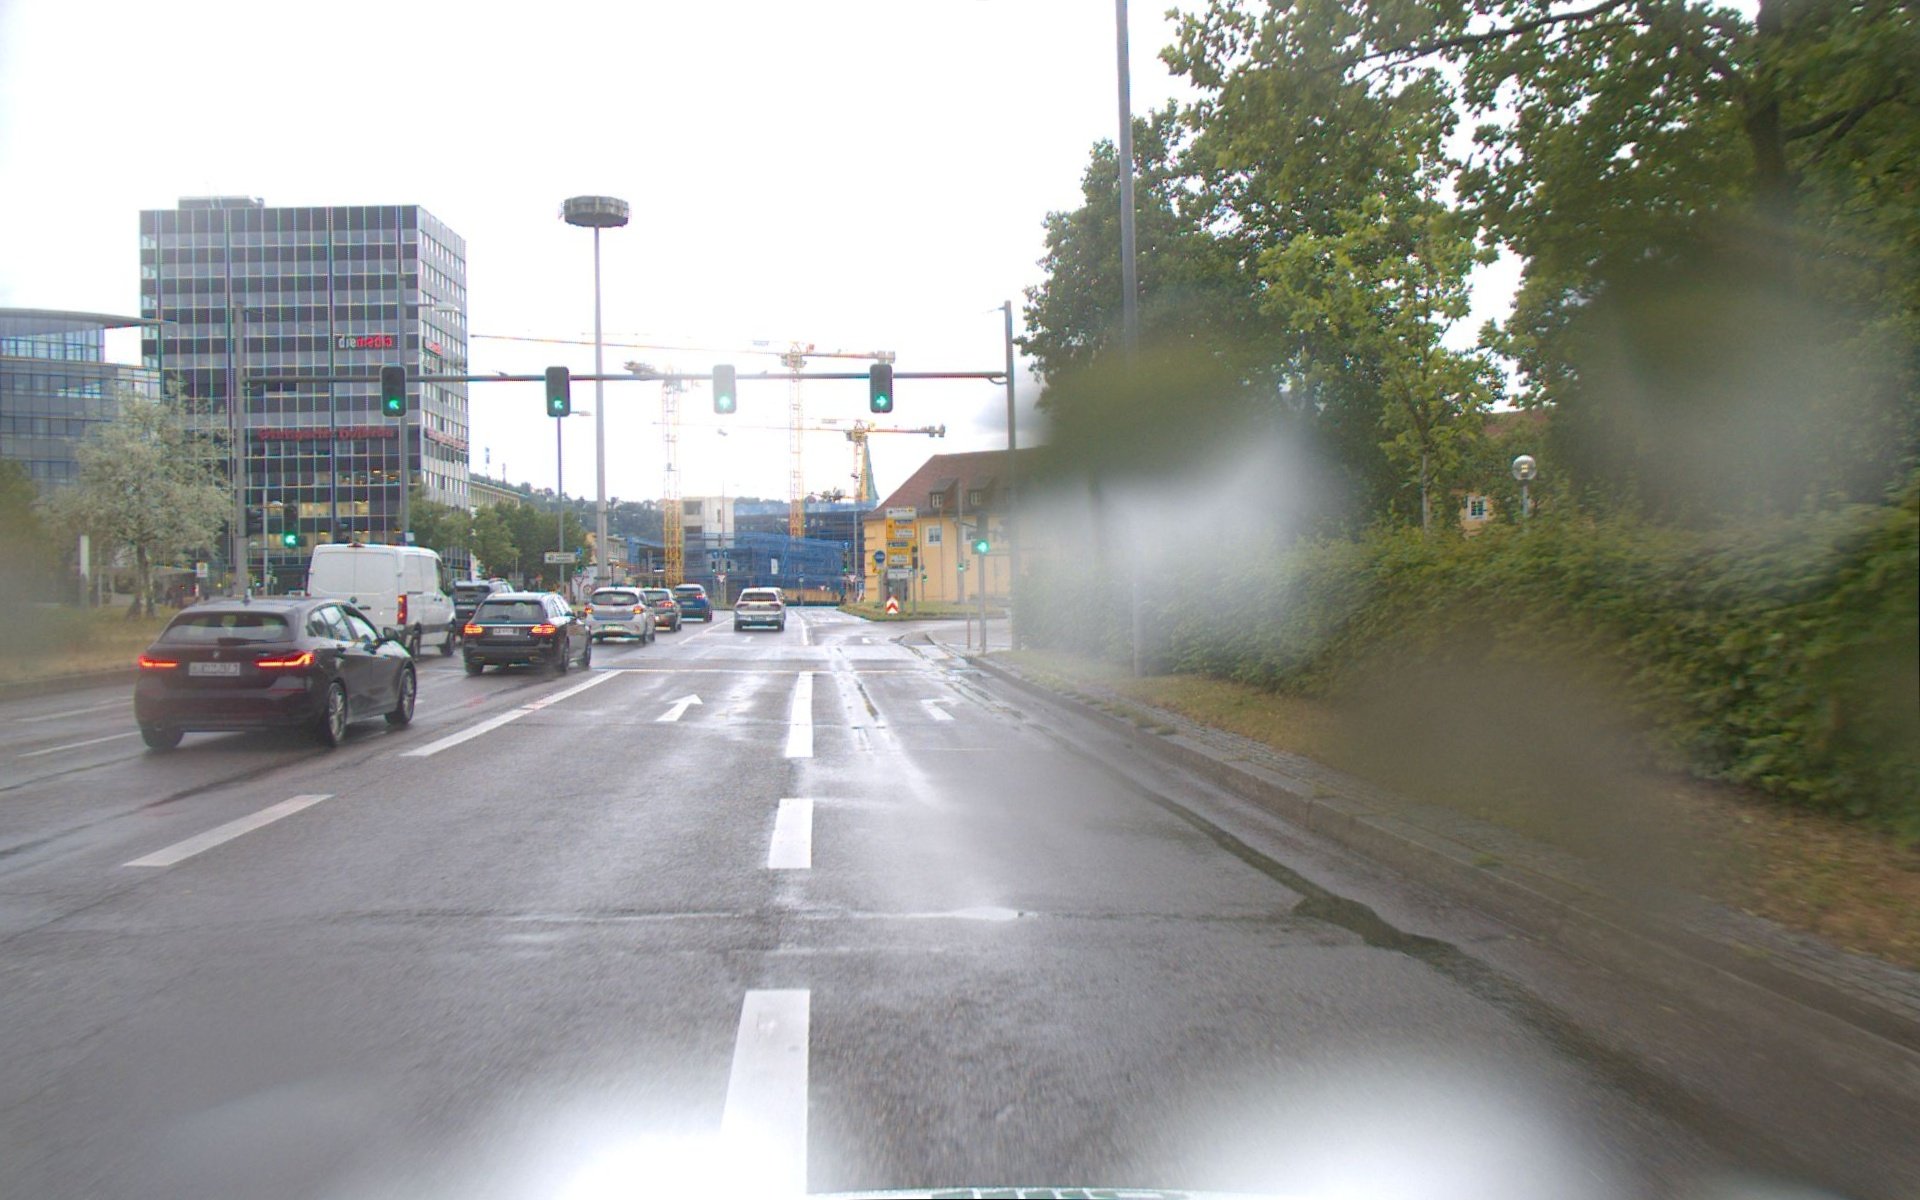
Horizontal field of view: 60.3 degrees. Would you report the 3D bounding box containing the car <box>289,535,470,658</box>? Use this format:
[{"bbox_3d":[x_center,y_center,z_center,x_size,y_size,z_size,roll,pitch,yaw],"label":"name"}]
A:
[{"bbox_3d":[-11.870,-0.011,34.232,2.247,2.355,5.001,0,-1,-4],"label":"car"}]

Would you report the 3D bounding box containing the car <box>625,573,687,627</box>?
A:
[{"bbox_3d":[-10.251,0.026,55.969,1.682,1.758,3.491,0,-1,-5],"label":"car"}]

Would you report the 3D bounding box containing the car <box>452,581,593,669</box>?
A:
[{"bbox_3d":[-7.889,0.469,30.117,1.793,1.521,3.397,0,-1,-3],"label":"car"}]

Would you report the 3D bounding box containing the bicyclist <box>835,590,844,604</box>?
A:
[{"bbox_3d":[-11.172,-0.300,153.527,0.693,1.298,0.631,1,-2,-21],"label":"bicyclist"}]

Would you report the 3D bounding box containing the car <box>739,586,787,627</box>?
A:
[{"bbox_3d":[-6.821,0.246,57.397,1.415,1.383,2.411,0,-1,-2],"label":"car"}]

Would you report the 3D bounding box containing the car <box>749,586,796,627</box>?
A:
[{"bbox_3d":[-8.675,0.266,76.742,1.632,1.772,3.289,1,1,2],"label":"car"}]

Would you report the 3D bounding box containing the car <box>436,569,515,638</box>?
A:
[{"bbox_3d":[-12.620,0.133,43.239,1.436,1.736,3.136,0,-1,-7],"label":"car"}]

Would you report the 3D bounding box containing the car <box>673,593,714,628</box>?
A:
[{"bbox_3d":[-11.227,0.461,69.833,1.464,1.393,3.030,0,-1,-5],"label":"car"}]

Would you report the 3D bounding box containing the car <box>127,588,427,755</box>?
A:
[{"bbox_3d":[-6.894,0.638,17.172,1.719,1.497,4.217,0,1,-6],"label":"car"}]

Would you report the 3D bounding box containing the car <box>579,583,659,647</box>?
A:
[{"bbox_3d":[-9.241,0.434,45.023,1.845,1.682,3.452,0,-1,-7],"label":"car"}]

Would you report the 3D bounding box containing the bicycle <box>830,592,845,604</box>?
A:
[{"bbox_3d":[-11.390,-0.154,153.878,0.867,1.027,1.981,1,-2,-20],"label":"bicycle"}]
